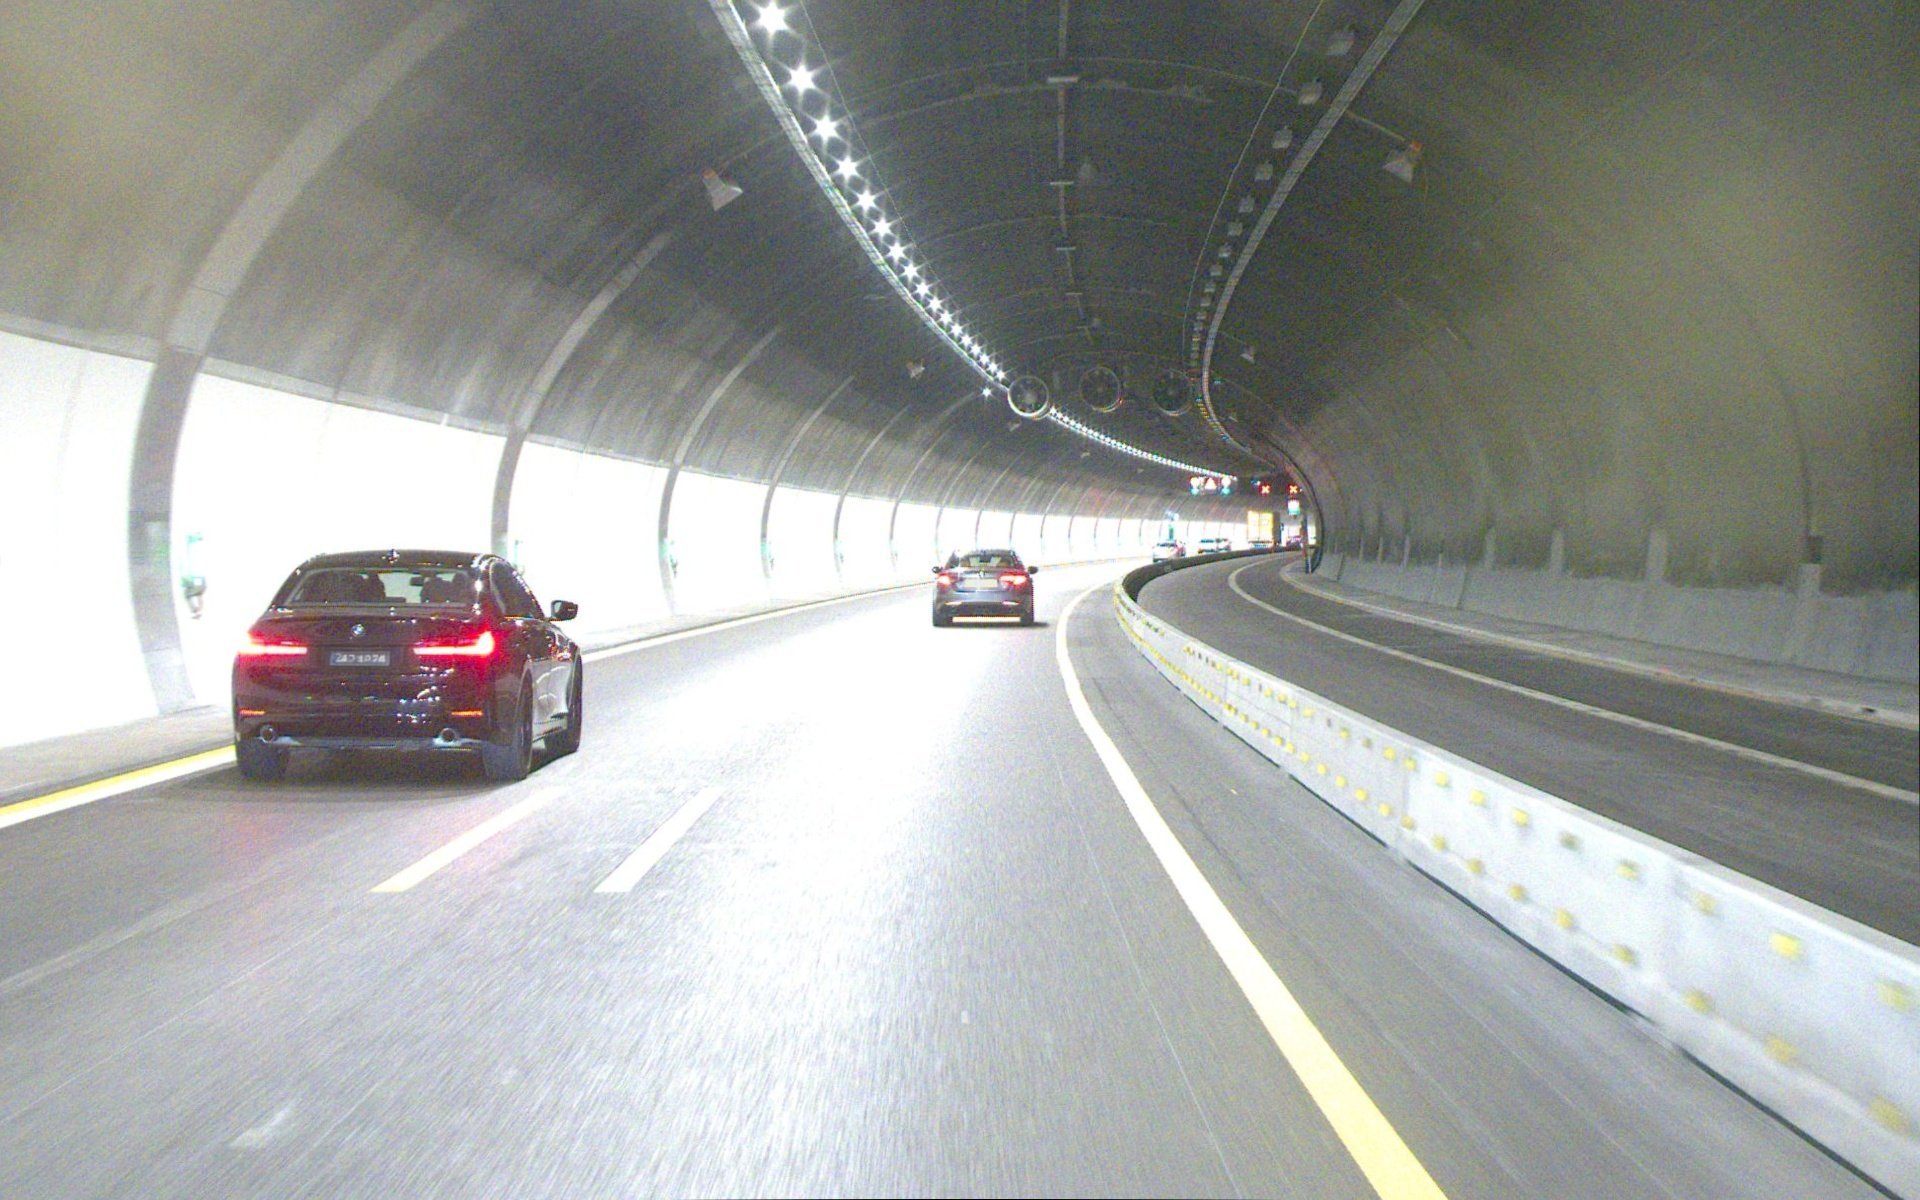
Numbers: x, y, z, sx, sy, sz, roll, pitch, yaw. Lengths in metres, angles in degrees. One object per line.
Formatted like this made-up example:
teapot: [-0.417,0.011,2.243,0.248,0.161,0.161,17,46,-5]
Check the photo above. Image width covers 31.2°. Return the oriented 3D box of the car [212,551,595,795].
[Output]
car: [-3.607,0.405,23.107,1.778,1.433,4.883,0,1,0]

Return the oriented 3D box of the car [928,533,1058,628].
car: [0.653,-0.395,64.268,2.141,1.700,4.000,0,1,5]

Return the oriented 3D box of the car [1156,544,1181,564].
car: [13.579,-2.995,224.155,1.595,1.328,3.750,0,1,3]
